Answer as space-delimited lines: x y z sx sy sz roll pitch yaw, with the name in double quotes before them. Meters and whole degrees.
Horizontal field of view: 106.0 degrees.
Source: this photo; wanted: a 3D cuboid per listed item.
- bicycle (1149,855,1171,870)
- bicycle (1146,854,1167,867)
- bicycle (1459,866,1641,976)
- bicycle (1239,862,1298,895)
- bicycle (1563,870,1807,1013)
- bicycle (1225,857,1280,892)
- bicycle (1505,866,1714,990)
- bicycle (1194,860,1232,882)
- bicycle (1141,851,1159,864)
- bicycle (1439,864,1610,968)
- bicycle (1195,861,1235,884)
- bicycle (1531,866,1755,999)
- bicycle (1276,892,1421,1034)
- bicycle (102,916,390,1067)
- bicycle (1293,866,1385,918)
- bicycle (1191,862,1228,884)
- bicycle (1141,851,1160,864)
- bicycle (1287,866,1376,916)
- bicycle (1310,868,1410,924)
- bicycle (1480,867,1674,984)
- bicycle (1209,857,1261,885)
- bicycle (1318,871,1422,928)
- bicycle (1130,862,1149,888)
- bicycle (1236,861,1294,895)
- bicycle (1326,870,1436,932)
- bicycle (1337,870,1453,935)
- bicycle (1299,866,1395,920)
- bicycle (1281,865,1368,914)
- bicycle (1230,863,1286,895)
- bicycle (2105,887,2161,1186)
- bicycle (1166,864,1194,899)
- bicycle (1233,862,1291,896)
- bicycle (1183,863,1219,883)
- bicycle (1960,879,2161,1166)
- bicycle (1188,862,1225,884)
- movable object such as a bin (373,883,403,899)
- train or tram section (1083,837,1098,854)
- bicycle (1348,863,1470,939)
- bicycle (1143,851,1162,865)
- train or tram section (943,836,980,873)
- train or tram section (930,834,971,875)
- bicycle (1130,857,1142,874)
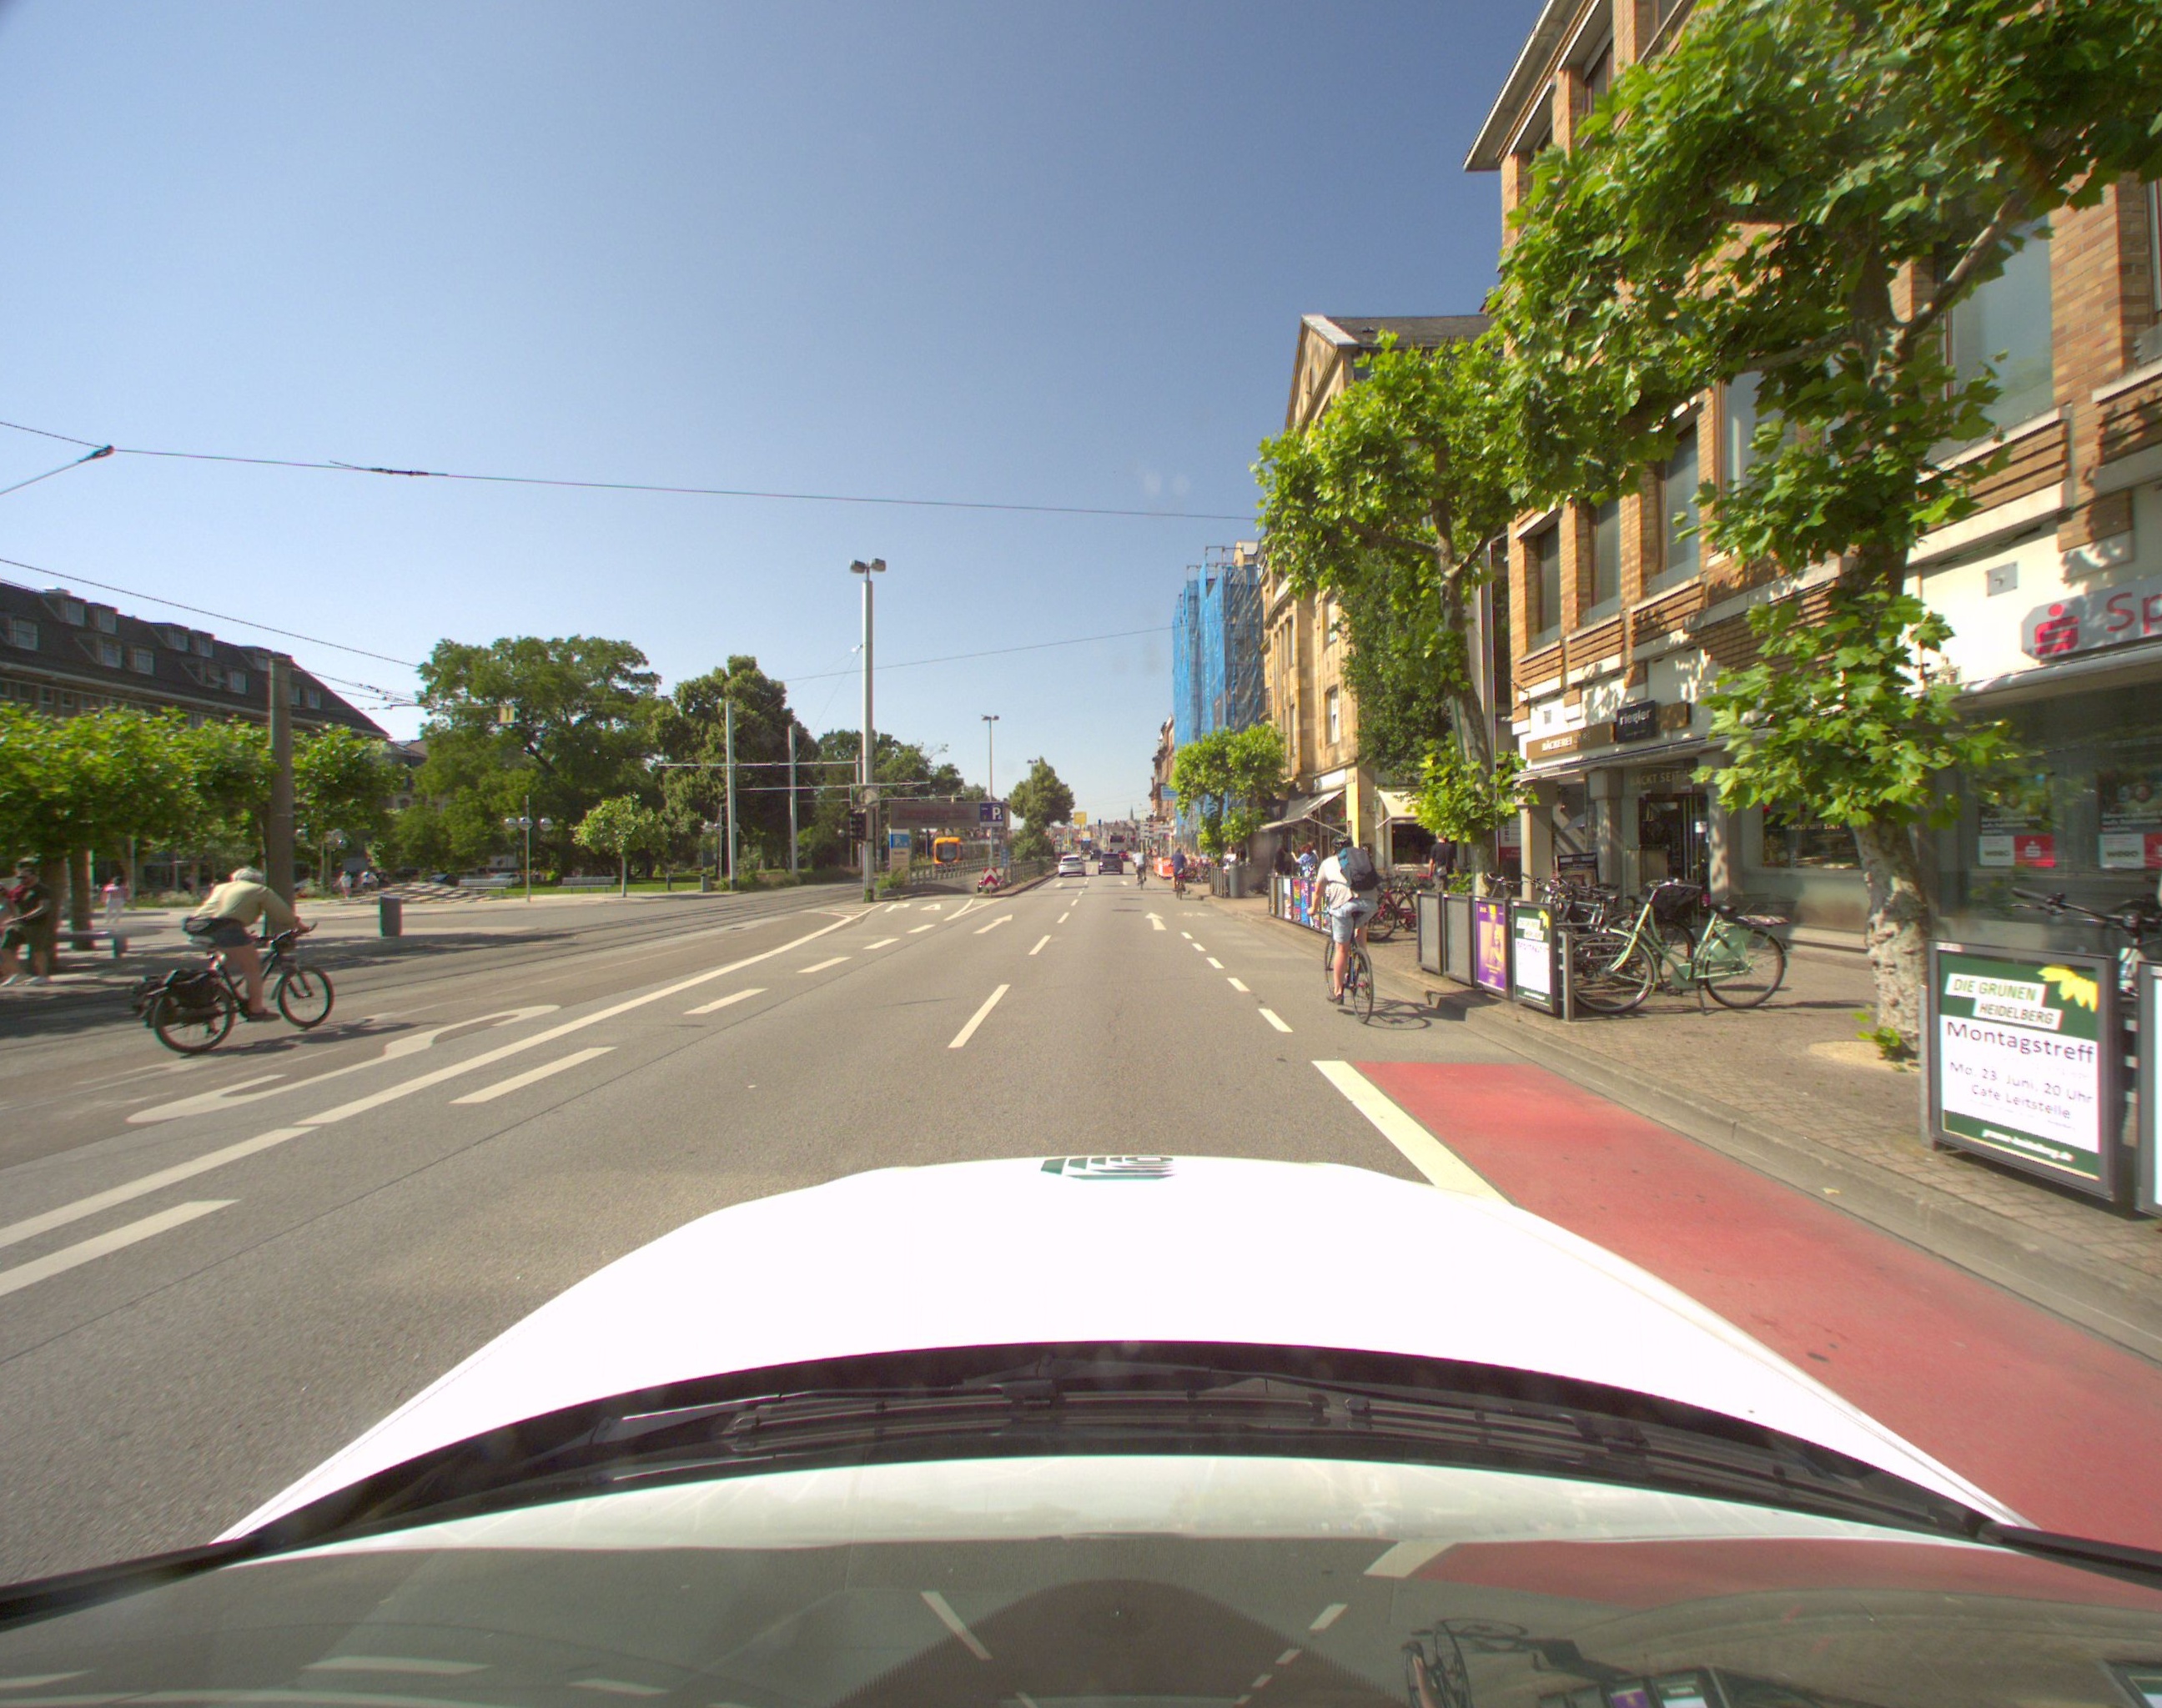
"bicycle" 6.224 0.664 63.838 1.687 1.097 0.609 0 0 2
"bicycle" 6.544 0.558 70.908 1.764 1.178 0.609 0 0 2
"bicycle" 5.188 0.725 9.050 1.747 1.147 0.483 -1 0 -1
"bicycle" 5.908 0.768 25.677 1.747 1.018 0.483 -1 0 -1
"bicycle" 5.176 0.734 7.024 1.747 1.147 0.483 -1 0 -1
"bicycle" 5.903 0.701 28.058 1.747 1.181 0.579 -1 0 -1
"bicycle" 5.200 0.714 8.058 1.747 1.147 0.483 -1 0 -1
"bicycle" 6.256 0.788 38.629 1.759 1.018 0.479 -1 0 -22
"bicycle" 6.562 0.336 77.193 1.687 1.178 0.452 0 0 1
"bicycle" 5.177 0.716 9.552 1.747 1.147 0.483 -1 0 -1
"bicycle" 6.191 0.871 37.636 1.747 1.018 0.483 -1 0 -1
"bicycle" 5.185 0.706 7.556 1.747 1.147 0.483 -1 0 -1
"bicycle" 2.521 0.973 7.968 0.731 1.093 2.130 1 0 0
"bicycle" -8.128 1.281 8.087 0.814 1.120 1.875 -4 0 2
"bicycle" 5.329 0.781 16.846 1.747 1.018 0.483 -1 0 -1
"bicycle" 6.241 0.917 39.561 1.747 1.018 0.483 -1 0 -1
"bicycle" 6.545 0.345 76.609 1.687 1.178 0.491 0 0 1
"bicycle" 5.336 0.786 17.364 1.747 1.018 0.483 -1 0 -1
"bicycle" 5.320 0.792 15.583 1.747 1.018 0.483 -1 0 -1
"bicycle" 5.184 0.730 8.556 1.747 1.147 0.483 -1 0 -1
"bicycle" 5.674 0.622 30.051 1.737 1.018 0.661 -1 0 24
"bicycle" 5.255 0.821 14.858 1.712 0.985 0.483 -1 0 -1
"bicycle" 2.536 0.900 35.452 0.731 1.093 1.898 1 0 0
"bicycle" 5.925 0.769 26.212 1.747 1.018 0.483 -1 0 -1
"bicycle" 5.231 0.807 14.250 1.747 1.018 0.483 -1 0 -1
"bicycle" 5.236 0.797 13.608 1.747 1.018 0.483 -1 0 -1
"bicycle" 5.318 0.772 16.310 1.747 1.018 0.483 -1 0 -1
"bicycle" 5.338 0.766 17.880 1.747 1.018 0.483 -1 0 -1
"bicycle" 5.935 0.846 27.392 1.747 1.018 0.557 -1 0 -1
"bicycle" 5.045 0.697 3.084 1.747 1.147 0.483 -1 0 -1
"bicycle" 3.384 0.919 27.850 0.731 1.093 1.911 1 0 0
"bicycle" 5.952 0.818 26.801 1.747 1.018 0.587 -2 0 -1
"bicycle" 6.095 0.969 41.515 1.747 1.018 0.483 -1 0 -1
"bicycle" 5.022 0.696 3.608 1.747 1.147 0.483 -1 0 -1
"bicycle" 6.190 0.948 40.333 1.747 1.018 0.483 -1 0 -1
"movable object such as a bin" -38.171 2.027 44.887 0.903 0.754 0.800 -4 1 2
"train or tram section" 2.149 -1.774 178.648 2.810 3.581 10.044 1 0 4
"bicycle" 5.219 0.735 12.997 1.747 1.147 0.483 -1 0 -1
"bicycle" 6.589 0.351 75.302 1.687 1.241 0.609 0 0 2
"train or tram section" -11.941 0.033 81.846 2.604 3.581 6.105 1 0 1
"train or tram section" -12.077 0.051 75.760 2.604 3.581 6.105 1 0 1
"bicycle" 3.758 0.789 55.912 0.731 1.093 1.898 1 0 1
